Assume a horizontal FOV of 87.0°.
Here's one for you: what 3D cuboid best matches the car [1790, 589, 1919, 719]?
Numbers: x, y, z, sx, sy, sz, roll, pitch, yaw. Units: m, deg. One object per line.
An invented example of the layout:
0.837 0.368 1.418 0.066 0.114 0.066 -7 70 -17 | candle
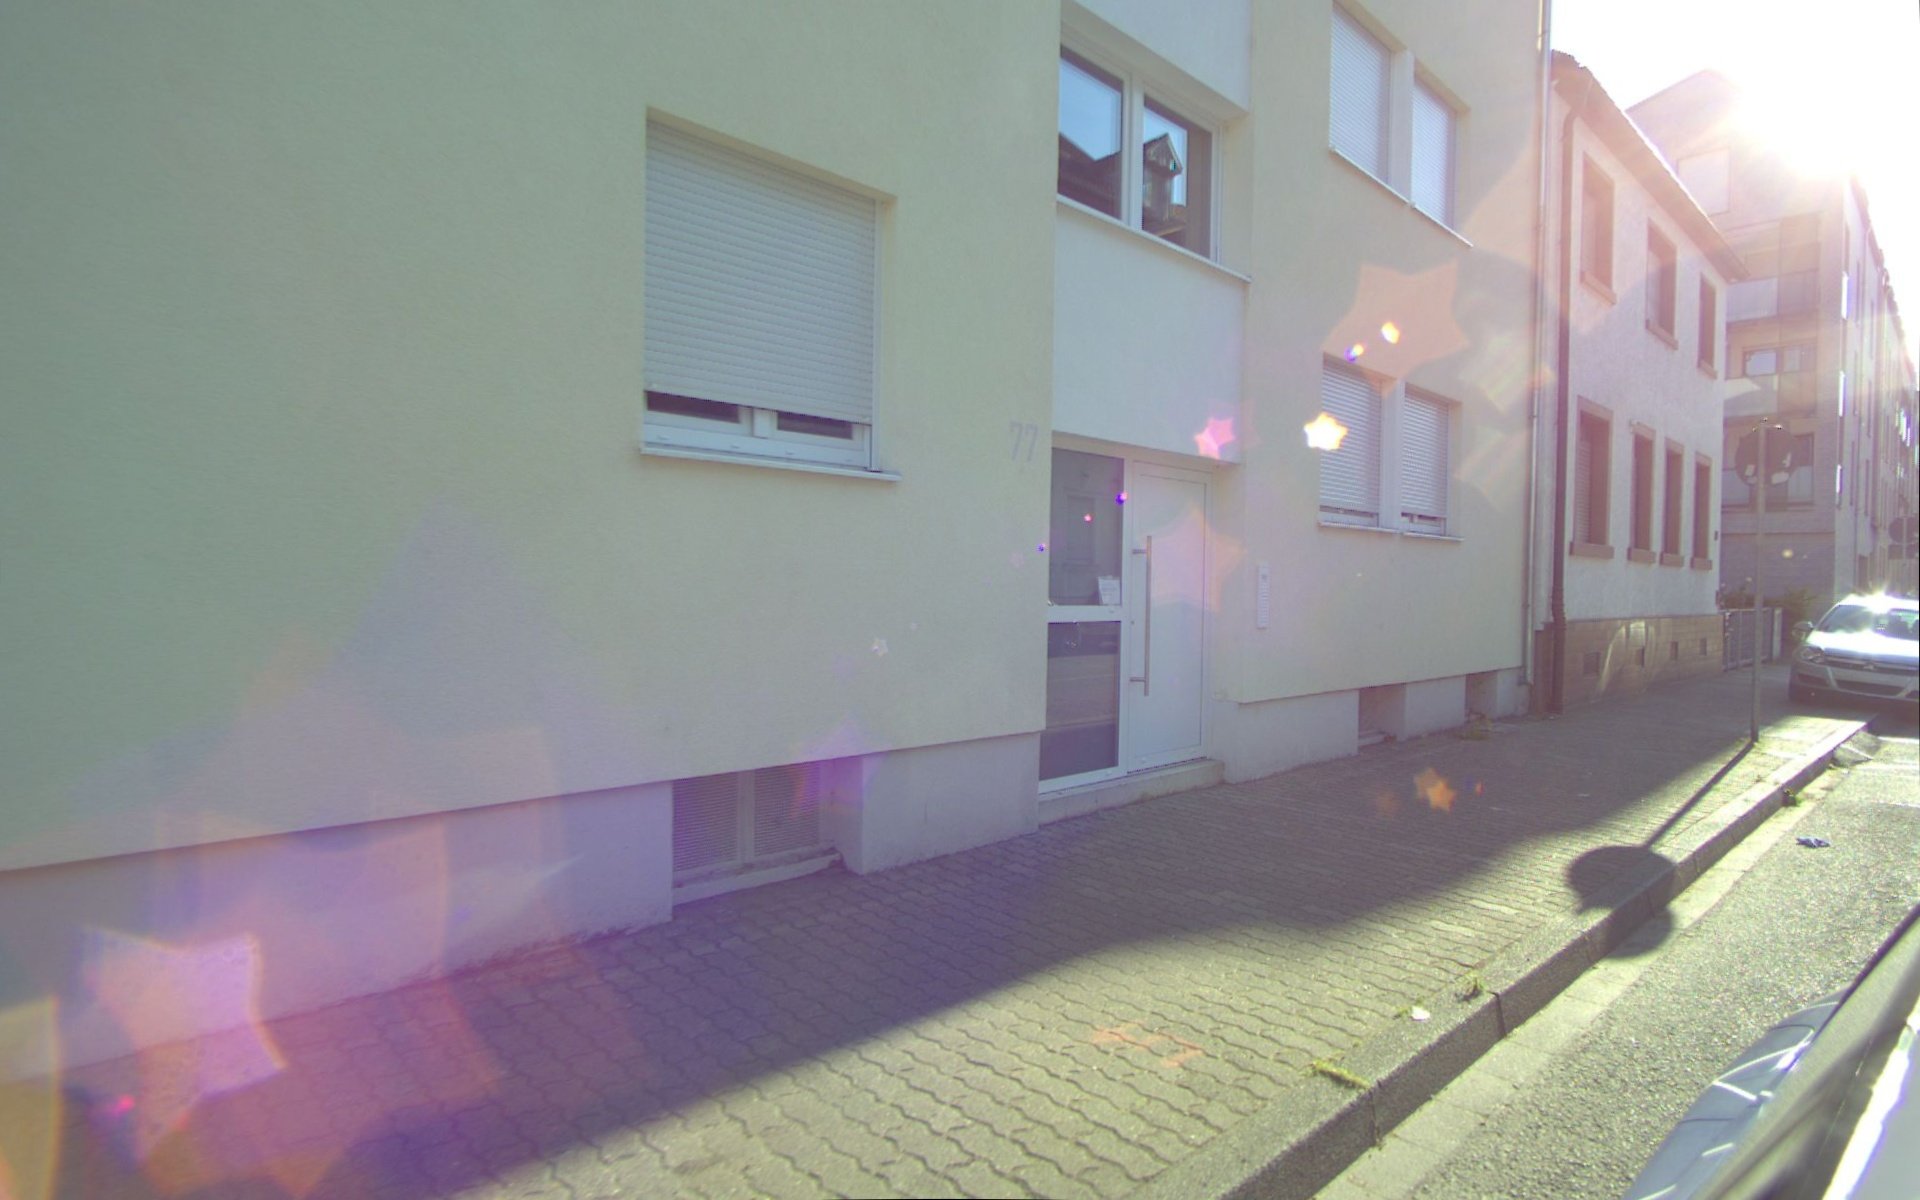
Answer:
13.082 0.672 14.083 4.364 1.510 1.744 0 4 -43 | car
